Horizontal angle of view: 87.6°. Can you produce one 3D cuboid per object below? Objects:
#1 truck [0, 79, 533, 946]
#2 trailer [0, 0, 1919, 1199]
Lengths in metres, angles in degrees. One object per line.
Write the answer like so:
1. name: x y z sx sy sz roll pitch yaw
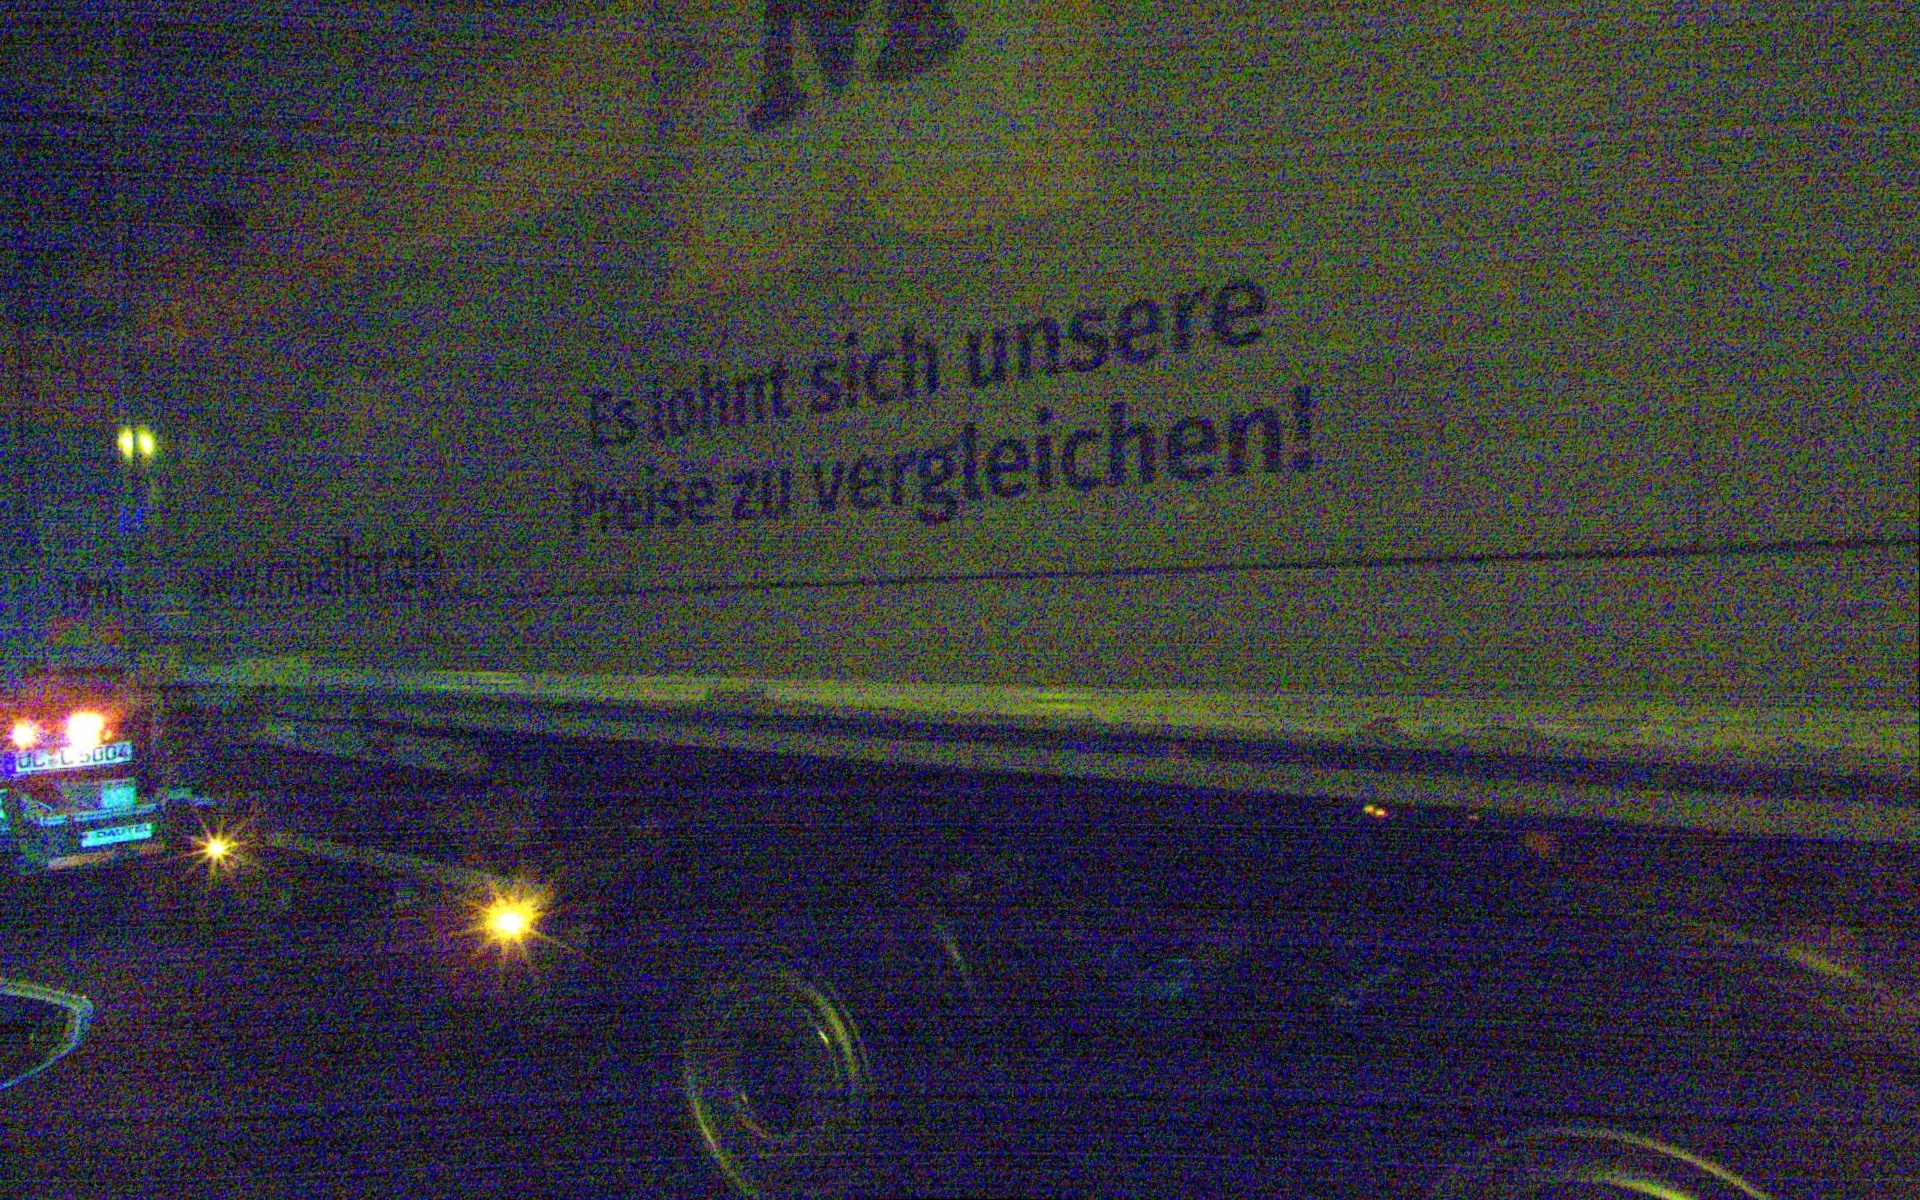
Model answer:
1. truck: -7.825 -0.280 8.300 9.768 3.963 2.884 -1 -2 33
2. trailer: 0.020 -0.448 3.265 8.821 3.907 2.870 -1 -2 33
